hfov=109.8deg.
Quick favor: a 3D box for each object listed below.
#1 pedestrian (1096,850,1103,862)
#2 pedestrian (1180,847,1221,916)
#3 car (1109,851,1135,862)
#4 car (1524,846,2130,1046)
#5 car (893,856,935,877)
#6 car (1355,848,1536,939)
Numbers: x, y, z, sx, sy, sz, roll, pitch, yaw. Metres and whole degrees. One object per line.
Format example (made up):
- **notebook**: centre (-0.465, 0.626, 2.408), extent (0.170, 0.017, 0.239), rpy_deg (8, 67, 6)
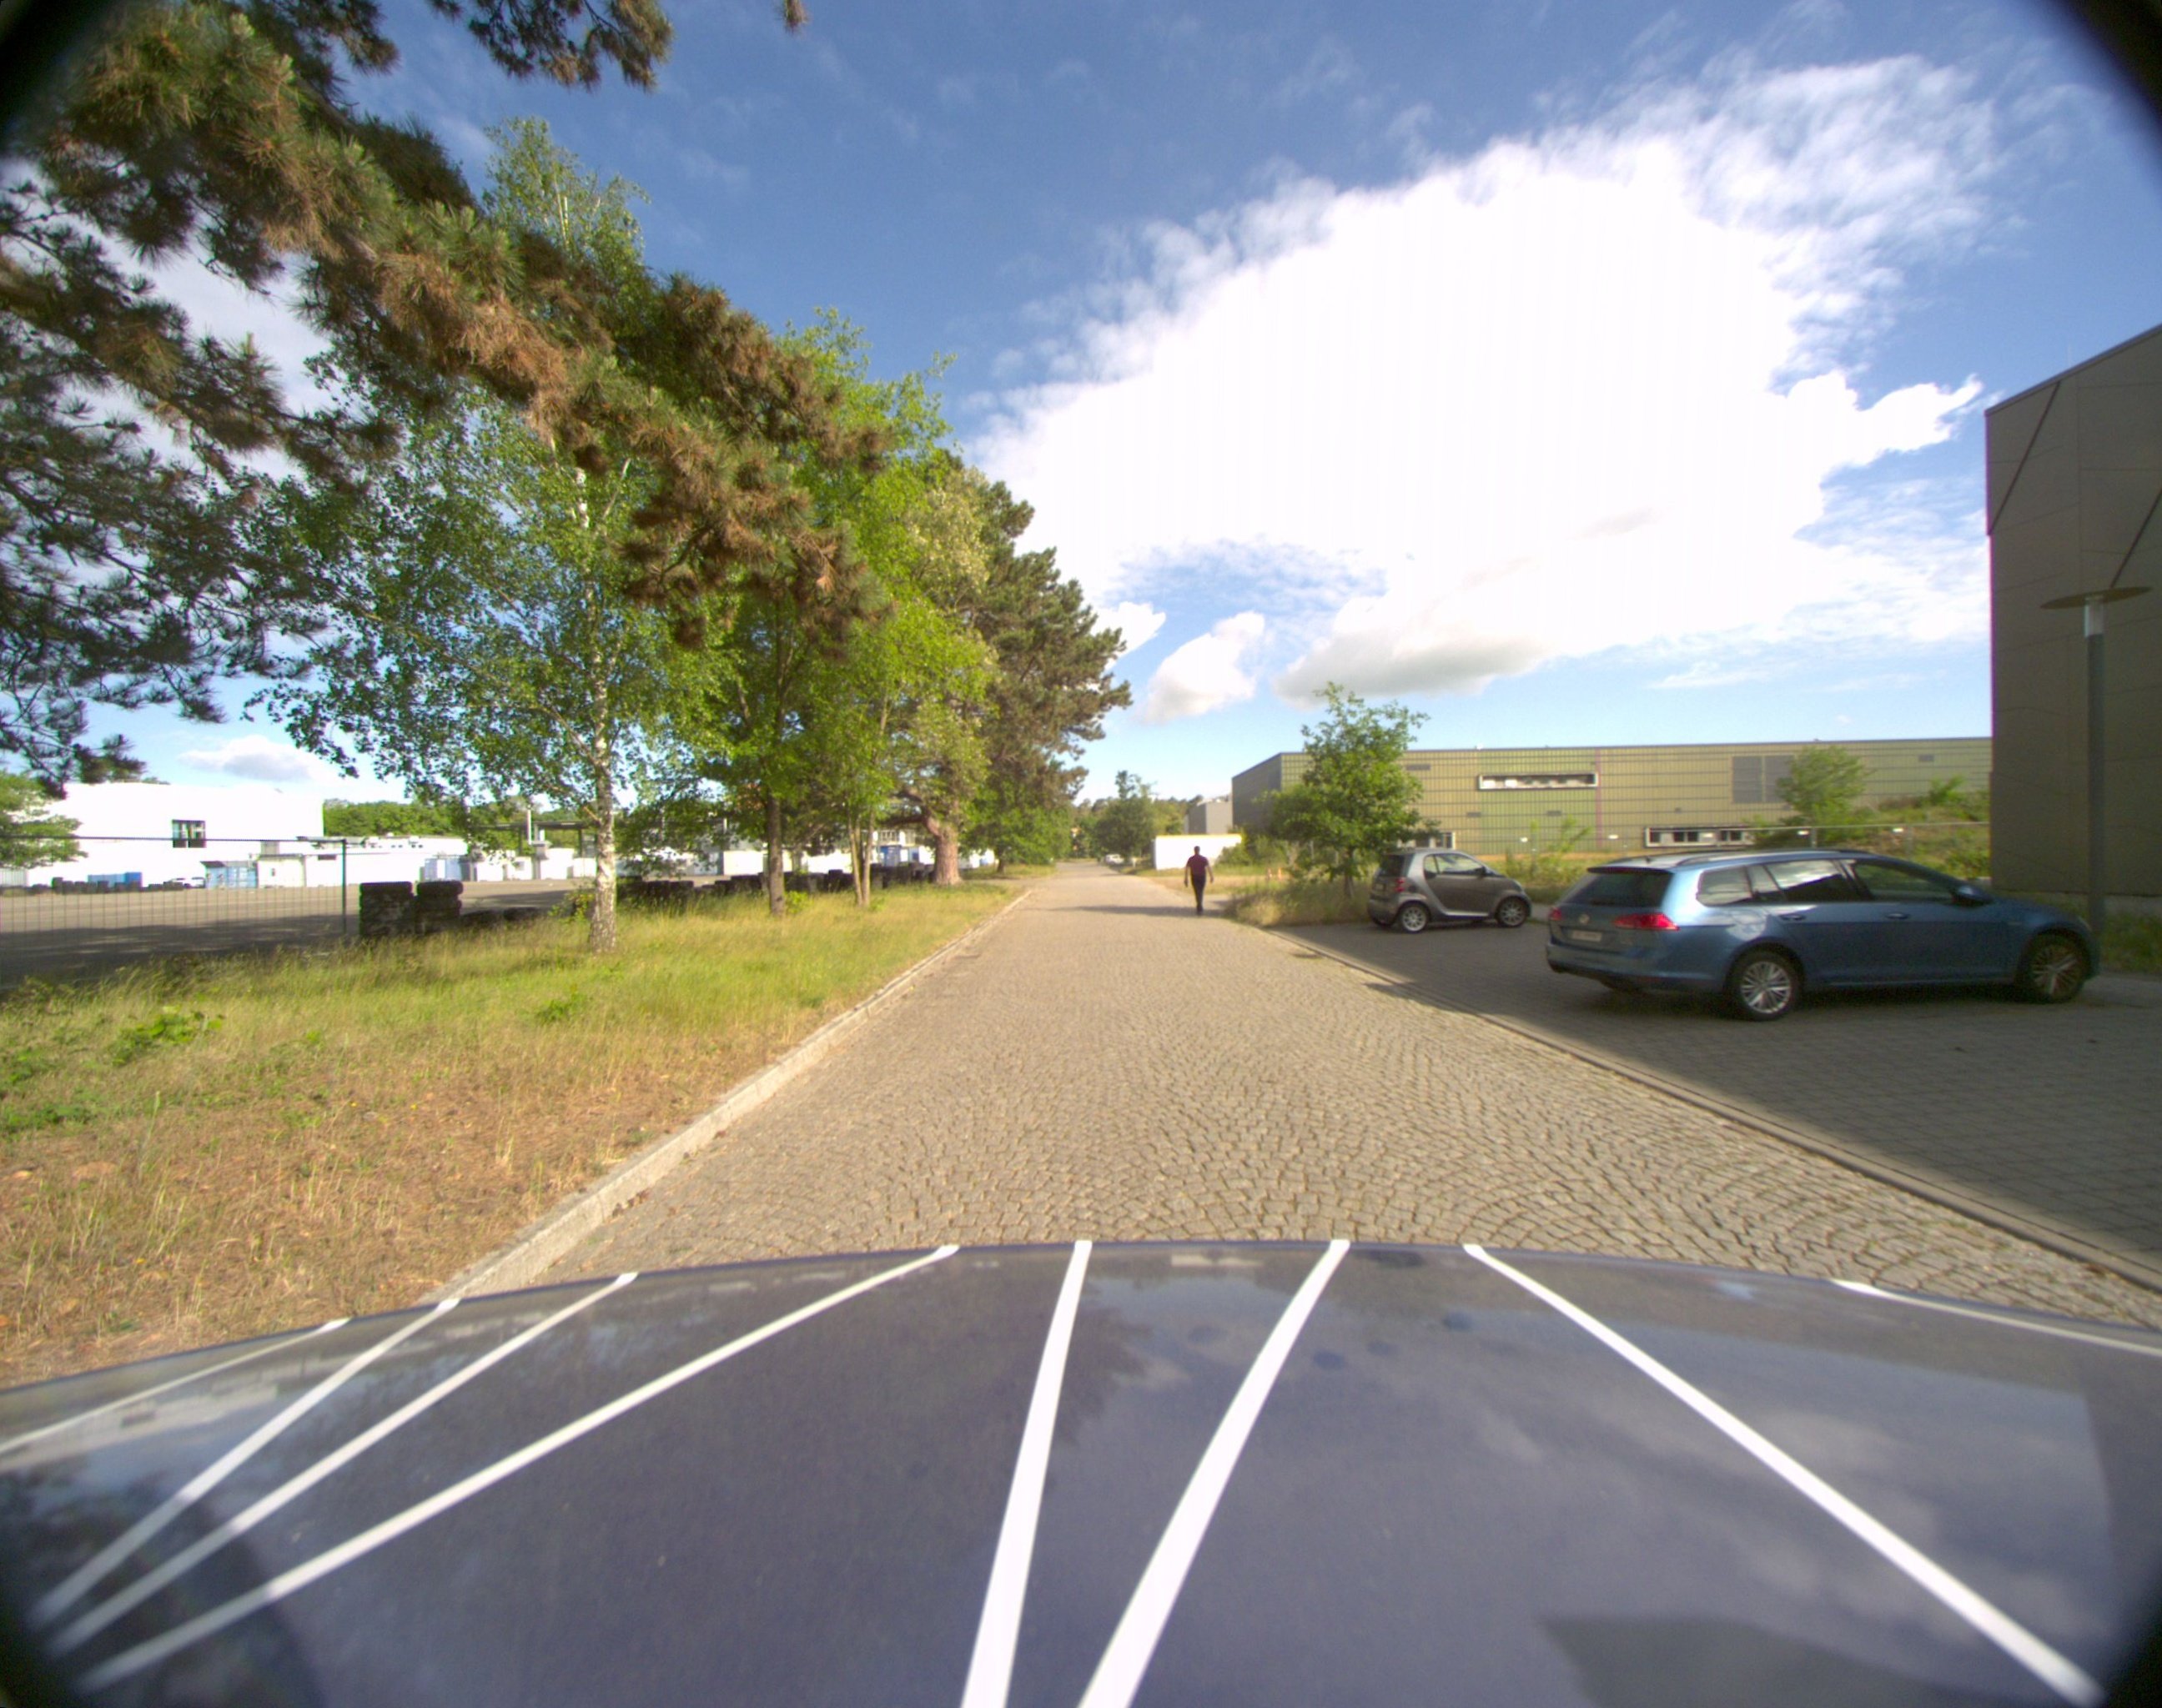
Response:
- **pedestrian**: centre (2.659, 0.300, 108.789), extent (0.908, 1.797, 0.983), rpy_deg (-1, 1, -7)
- **pedestrian**: centre (3.122, 0.699, 19.976), extent (0.806, 1.761, 1.152), rpy_deg (-1, 1, -4)
- **car**: centre (6.608, 0.431, 122.062), extent (3.996, 1.678, 2.000), rpy_deg (-1, 0, 3)
- **car**: centre (6.907, 0.771, 7.331), extent (4.268, 1.455, 1.680), rpy_deg (-3, 1, -2)
- **car**: centre (-12.350, 0.889, 56.315), extent (1.846, 1.440, 4.002), rpy_deg (-1, 0, 6)
- **car**: centre (6.976, 0.717, 14.715), extent (2.706, 1.533, 1.518), rpy_deg (-3, 1, -1)
